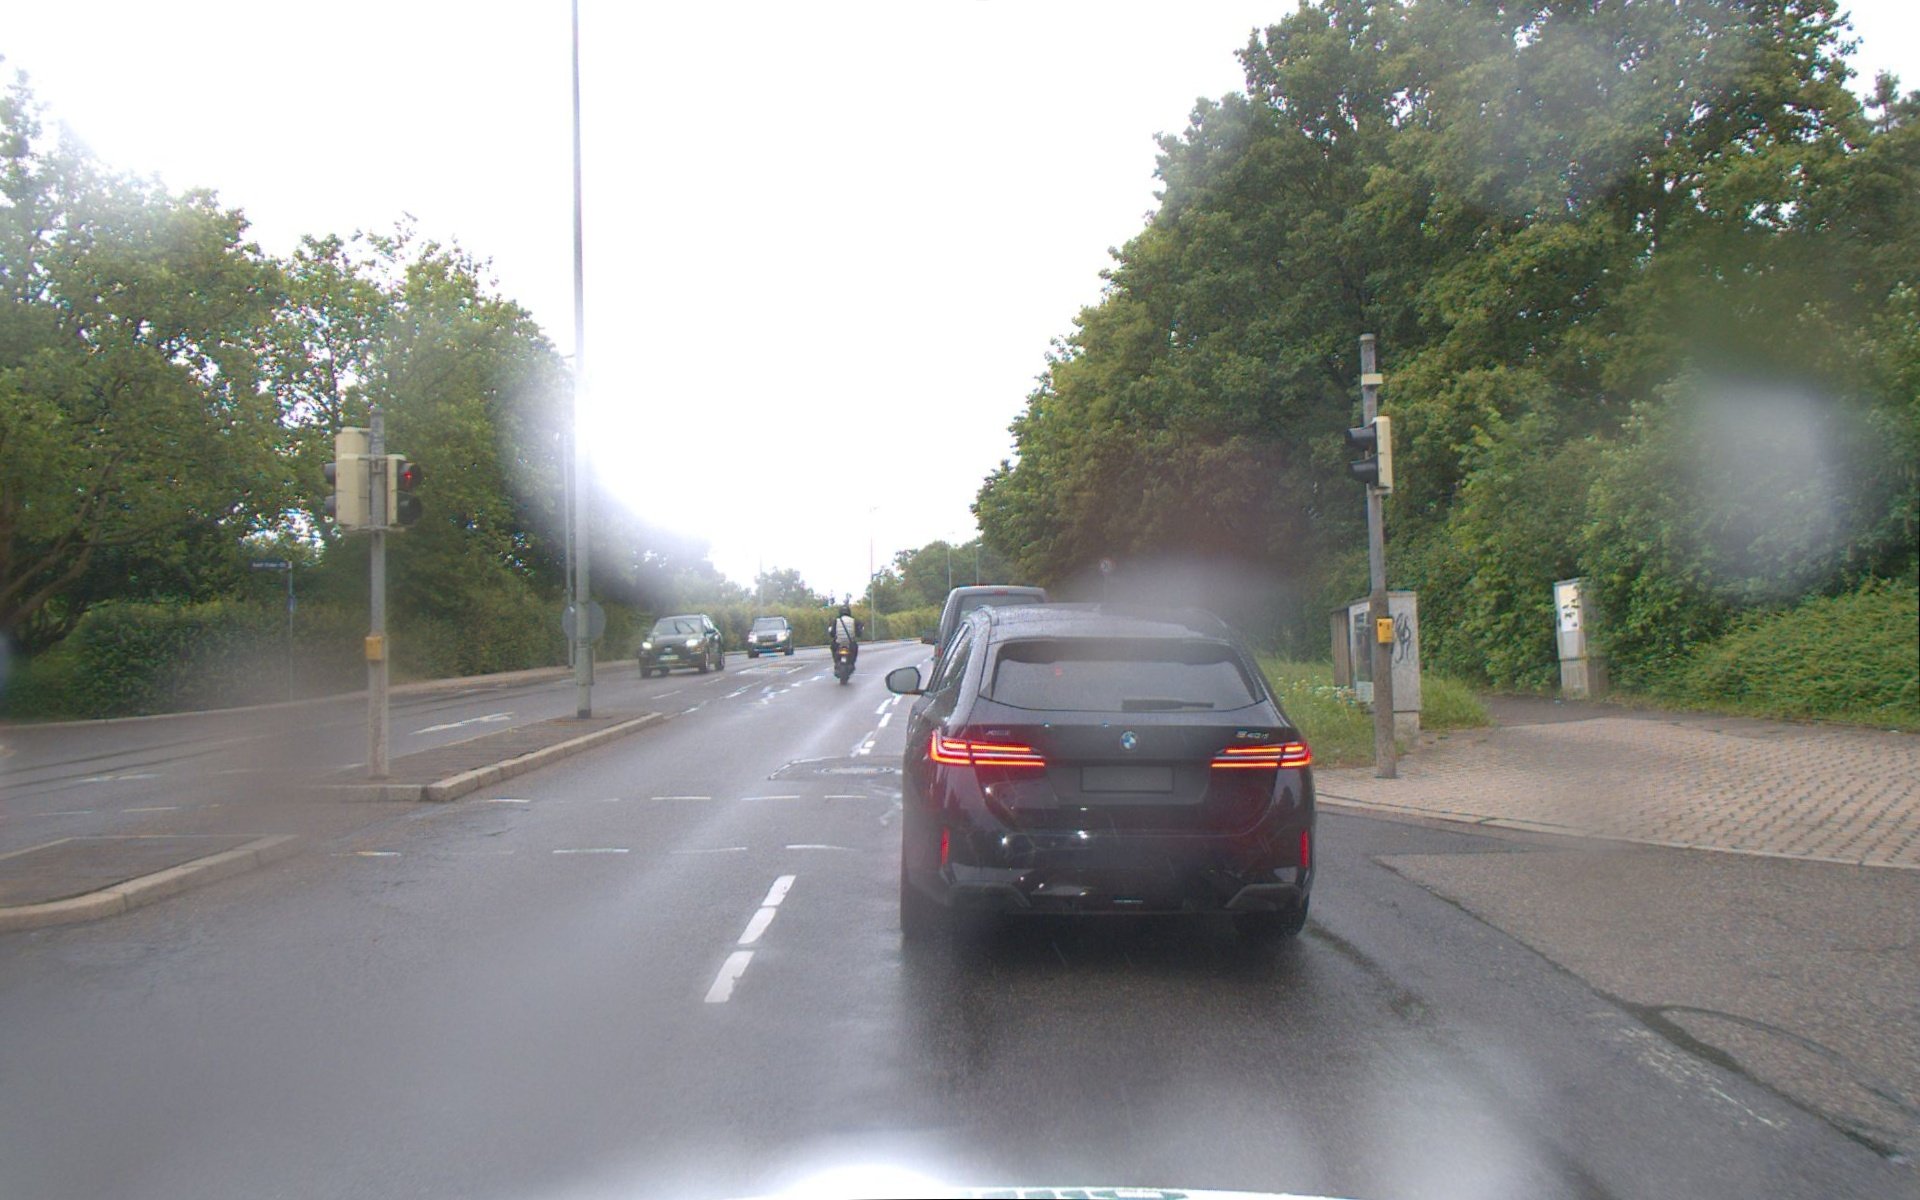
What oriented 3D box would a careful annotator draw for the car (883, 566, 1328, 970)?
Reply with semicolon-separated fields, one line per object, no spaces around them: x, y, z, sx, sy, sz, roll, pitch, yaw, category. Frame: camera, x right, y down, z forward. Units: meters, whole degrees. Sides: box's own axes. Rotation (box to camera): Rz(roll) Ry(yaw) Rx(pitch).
0.593;0.676;8.365;1.728;1.563;3.673;-1;0;1;car

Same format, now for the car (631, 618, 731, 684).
-7.435;1.331;44.435;1.984;1.590;3.876;-3;-1;0;car

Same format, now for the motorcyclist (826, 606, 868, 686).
-2.434;0.988;35.598;0.828;1.676;0.468;-1;0;0;motorcyclist

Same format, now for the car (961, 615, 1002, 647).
1.052;1.514;82.784;1.973;1.440;4.487;-1;1;1;car

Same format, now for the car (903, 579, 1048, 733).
0.211;0.662;22.076;1.730;1.841;3.905;-1;1;1;car

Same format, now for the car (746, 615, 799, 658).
-7.718;1.497;68.480;1.759;1.631;3.730;-3;0;-1;car

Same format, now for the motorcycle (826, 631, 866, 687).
-2.452;1.267;35.658;0.726;1.139;1.426;-1;0;1;motorcycle
